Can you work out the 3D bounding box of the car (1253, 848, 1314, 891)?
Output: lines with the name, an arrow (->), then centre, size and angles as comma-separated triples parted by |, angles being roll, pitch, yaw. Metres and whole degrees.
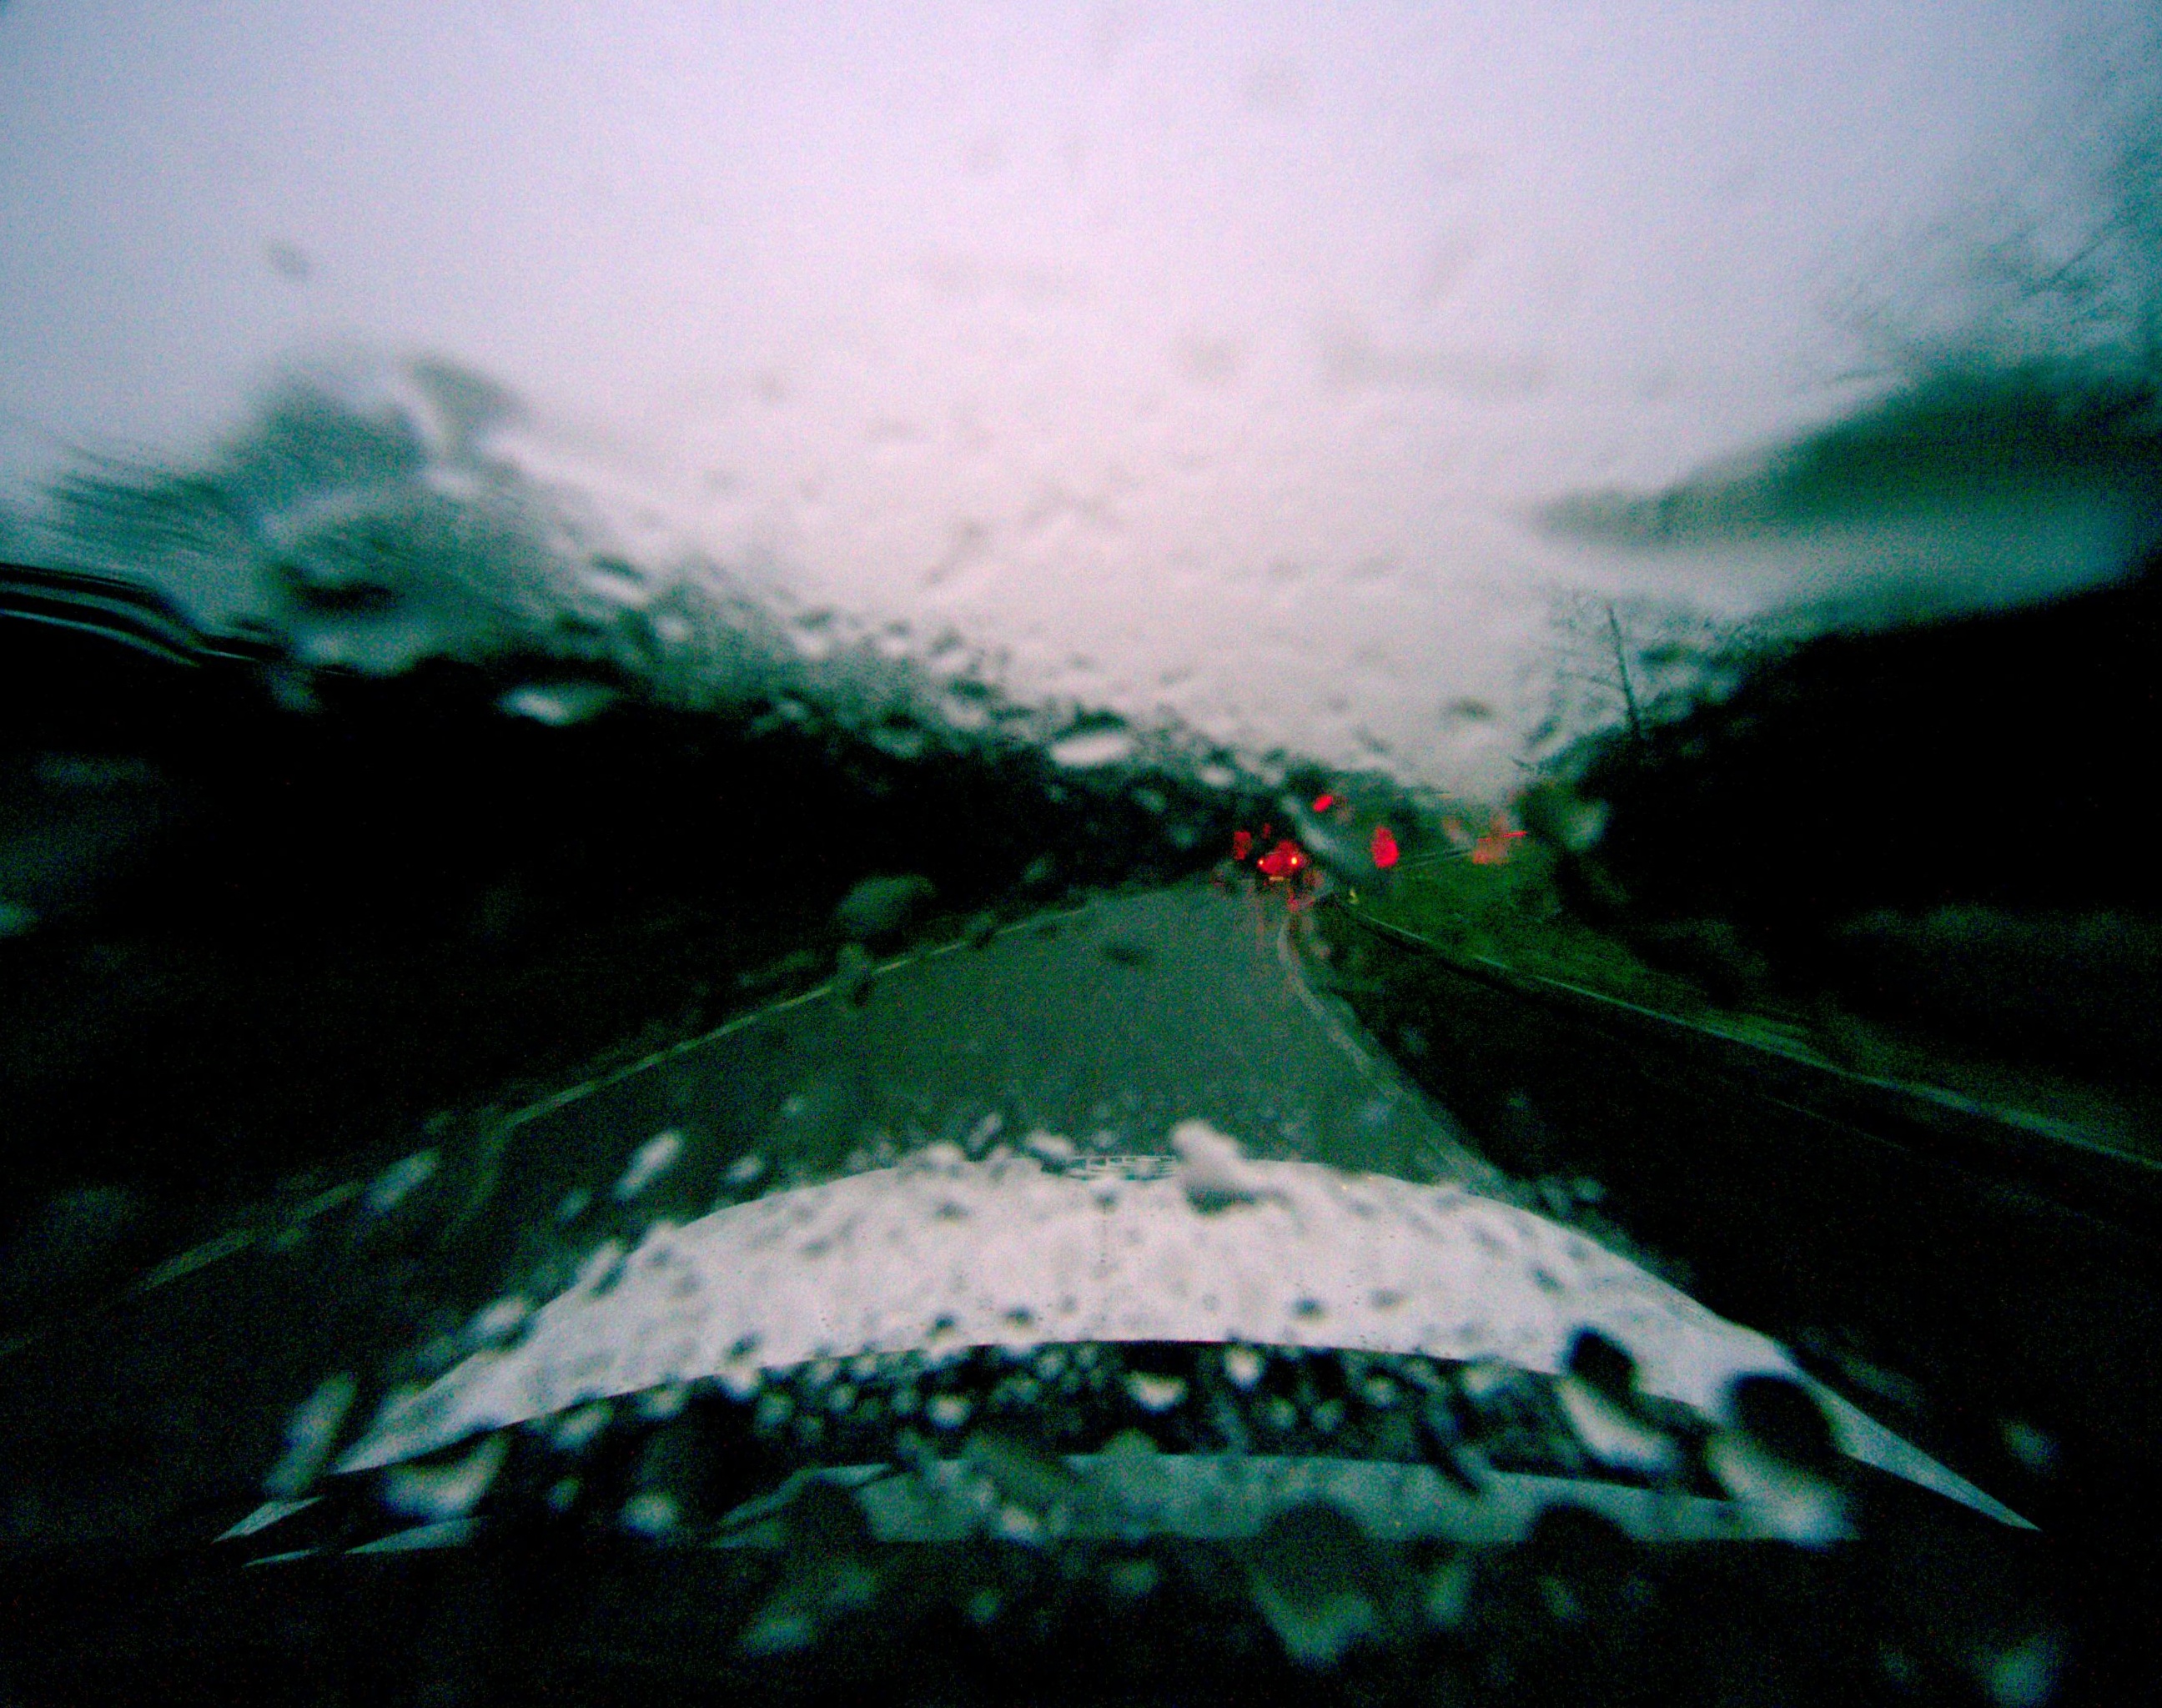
car -> 7.696, 0.534, 30.698 | 1.717, 1.429, 3.785 | -3, 0, 21
